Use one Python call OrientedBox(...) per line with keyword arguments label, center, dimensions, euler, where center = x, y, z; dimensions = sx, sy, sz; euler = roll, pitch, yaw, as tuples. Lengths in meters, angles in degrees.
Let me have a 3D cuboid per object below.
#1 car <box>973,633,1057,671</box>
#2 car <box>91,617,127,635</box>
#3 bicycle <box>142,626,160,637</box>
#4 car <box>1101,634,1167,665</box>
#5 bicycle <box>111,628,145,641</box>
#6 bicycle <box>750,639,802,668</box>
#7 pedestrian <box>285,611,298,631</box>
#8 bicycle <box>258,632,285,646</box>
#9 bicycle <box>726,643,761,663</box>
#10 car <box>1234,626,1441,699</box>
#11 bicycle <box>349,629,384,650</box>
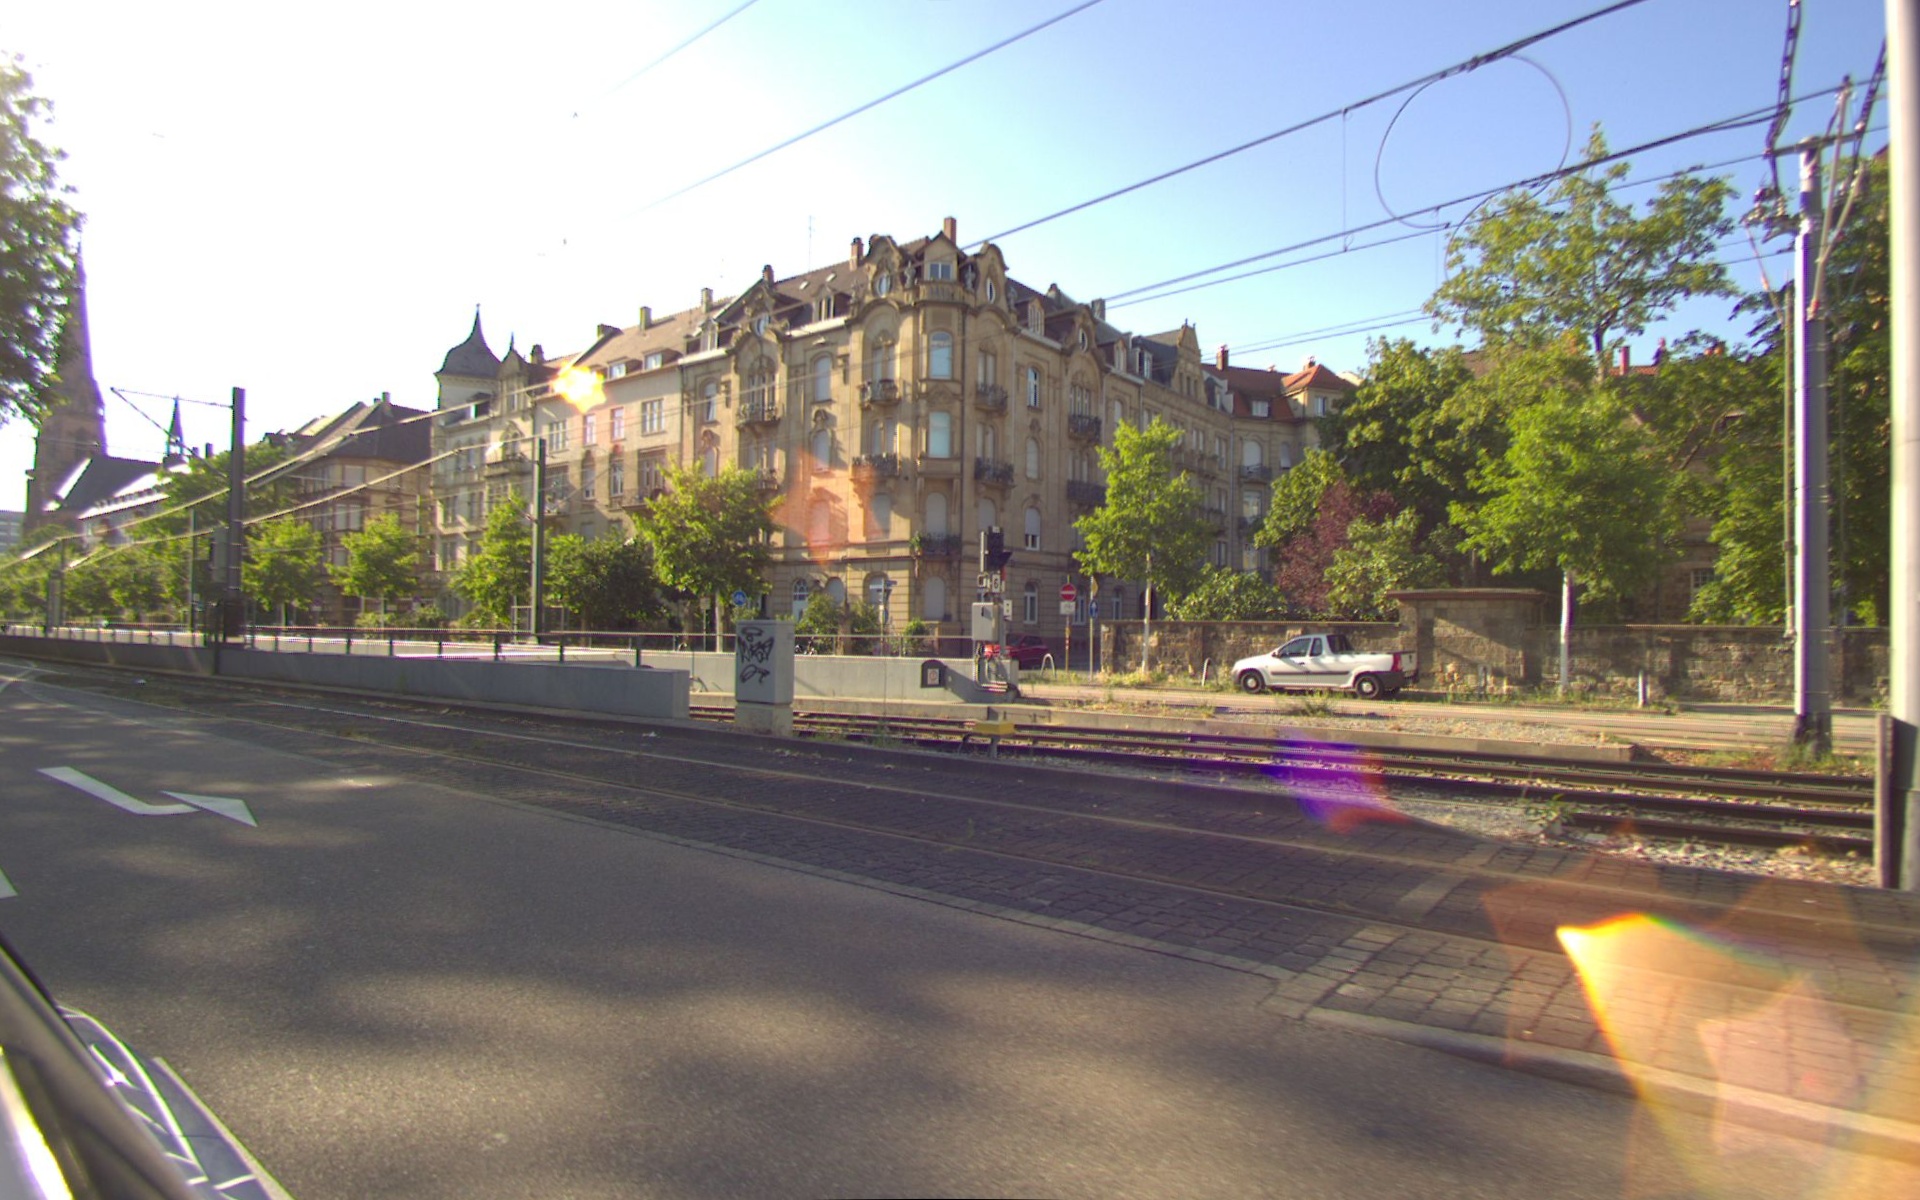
OrientedBox(label="car", center=(2.454, 2.278, 44.441), dimensions=(1.816, 1.581, 3.950), euler=(-1, -3, 37))
OrientedBox(label="car", center=(-82.321, 2.518, 97.905), dimensions=(3.992, 1.597, 1.816), euler=(-1, 0, 36))
OrientedBox(label="bicycle", center=(-72.058, 2.766, 90.127), dimensions=(0.533, 0.912, 1.266), euler=(-1, 0, 8))
OrientedBox(label="car", center=(9.165, 2.580, 53.043), dimensions=(1.816, 1.581, 3.950), euler=(-1, -3, 37))
OrientedBox(label="bicycle", center=(-76.345, 3.173, 92.879), dimensions=(0.635, 1.107, 2.782), euler=(-1, 0, 5))
OrientedBox(label="bicycle", center=(-6.909, 2.004, 37.943), dimensions=(1.875, 1.030, 0.484), euler=(-1, 0, 15))
OrientedBox(label="pedestrian", center=(-56.101, 1.755, 84.935), dimensions=(0.865, 1.701, 0.711), euler=(-1, 0, 44))
OrientedBox(label="bicycle", center=(-54.562, 3.058, 80.221), dimensions=(1.921, 1.012, 0.454), euler=(2, 0, 8))
OrientedBox(label="bicycle", center=(-9.451, 2.300, 44.112), dimensions=(1.886, 0.806, 0.412), euler=(-1, 0, 41))
OrientedBox(label="car", center=(9.300, 1.481, 25.130), dimensions=(4.506, 1.567, 1.698), euler=(-1, 0, 40))
OrientedBox(label="bicycle", center=(-35.748, 2.380, 60.955), dimensions=(0.600, 1.289, 1.711), euler=(-1, -2, 44))
